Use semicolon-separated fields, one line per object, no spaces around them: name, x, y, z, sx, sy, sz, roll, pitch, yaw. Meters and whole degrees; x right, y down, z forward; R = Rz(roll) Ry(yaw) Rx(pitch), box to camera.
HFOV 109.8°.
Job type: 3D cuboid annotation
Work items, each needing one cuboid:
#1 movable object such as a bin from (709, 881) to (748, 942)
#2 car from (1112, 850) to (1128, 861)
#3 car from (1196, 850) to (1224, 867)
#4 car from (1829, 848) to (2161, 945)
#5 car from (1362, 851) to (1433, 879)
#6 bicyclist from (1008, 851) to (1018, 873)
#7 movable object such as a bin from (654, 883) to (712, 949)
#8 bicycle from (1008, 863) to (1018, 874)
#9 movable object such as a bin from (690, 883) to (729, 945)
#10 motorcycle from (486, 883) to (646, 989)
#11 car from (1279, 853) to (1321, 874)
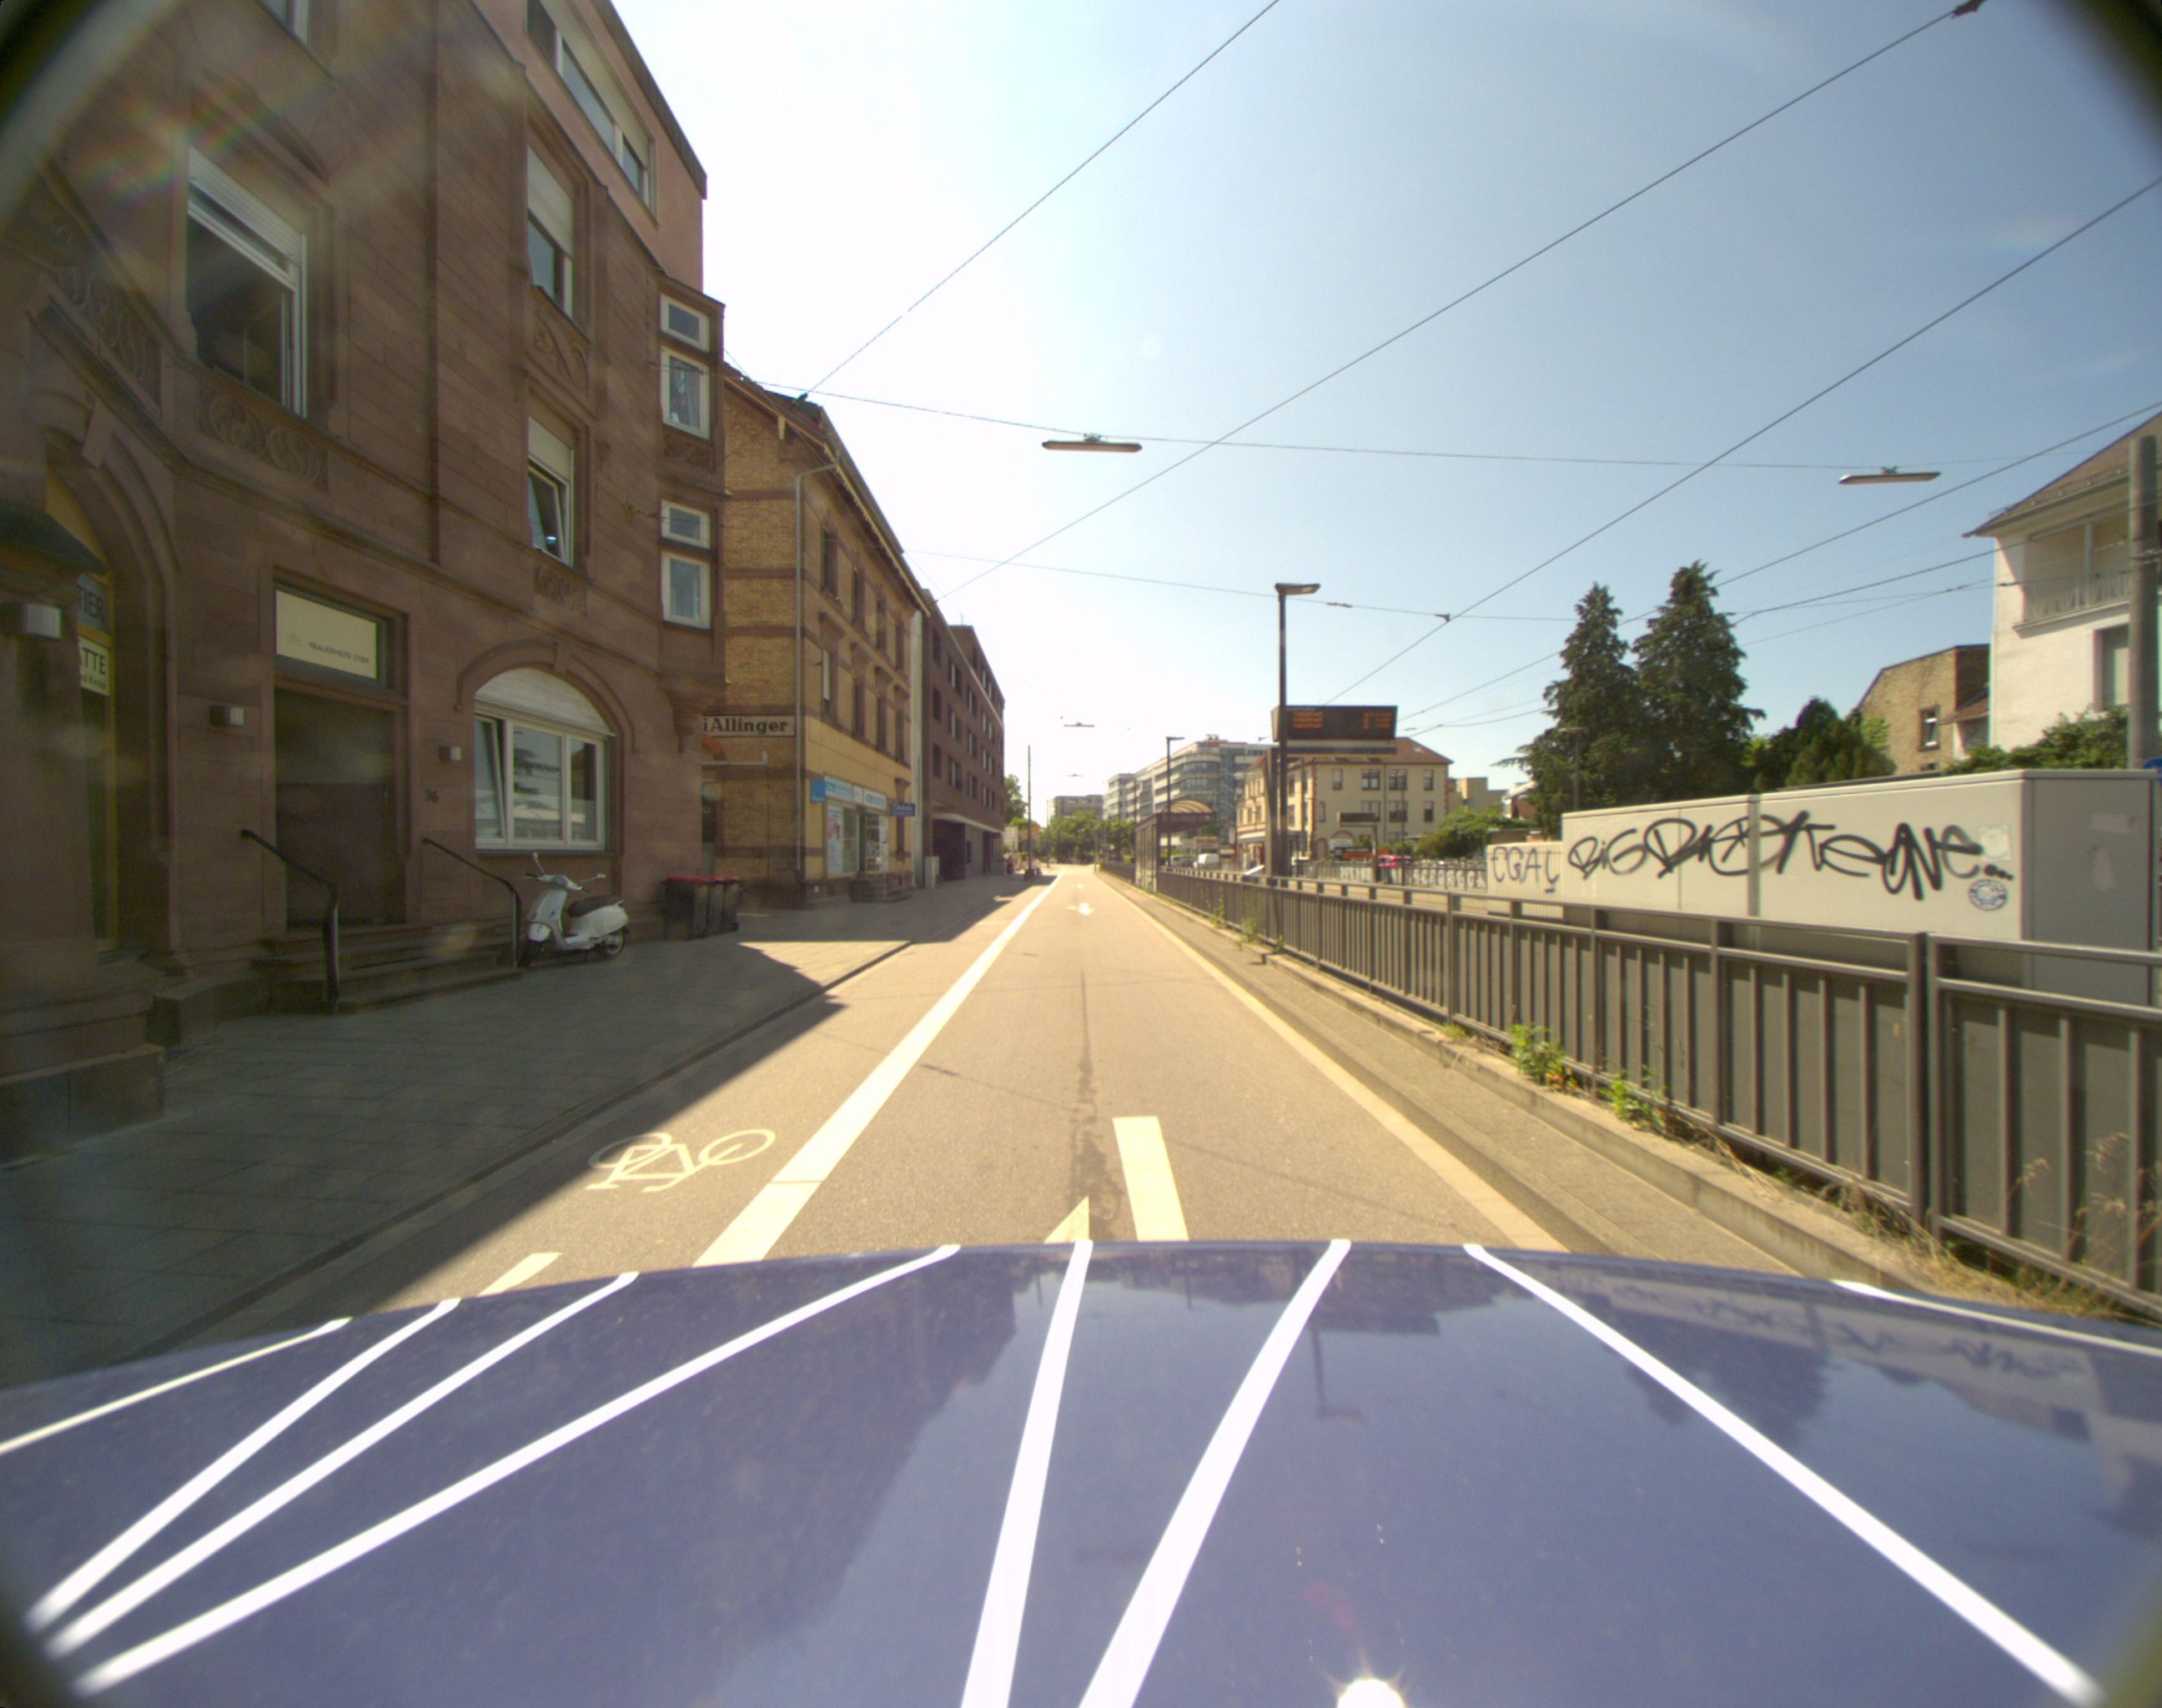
movable object such as a bin;-6.463;1.043;13.946;0.376;1.042;0.657;2;0;0
car;6.646;0.254;130.444;2.000;1.827;3.996;-1;0;-10
car;14.201;0.516;84.107;1.861;1.806;4.695;0;0;-6
car;16.409;0.627;13.511;1.861;1.433;4.478;-1;0;1
car;16.400;0.525;39.612;1.823;1.387;4.174;1;0;-2
bicyclist;-5.339;0.657;59.655;0.671;1.712;0.928;-1;0;-4
movable object such as a bin;-6.683;1.027;12.777;0.649;1.042;0.559;2;1;-1
bicycle;-5.316;1.132;59.518;0.690;0.793;1.907;-1;0;-3
movable object such as a bin;-6.523;1.045;13.354;0.376;1.042;0.559;2;1;0
motorcycle;-6.438;0.977;9.640;0.527;1.142;1.881;0;0;8
car;16.064;0.657;55.981;1.822;1.459;4.623;1;0;1
